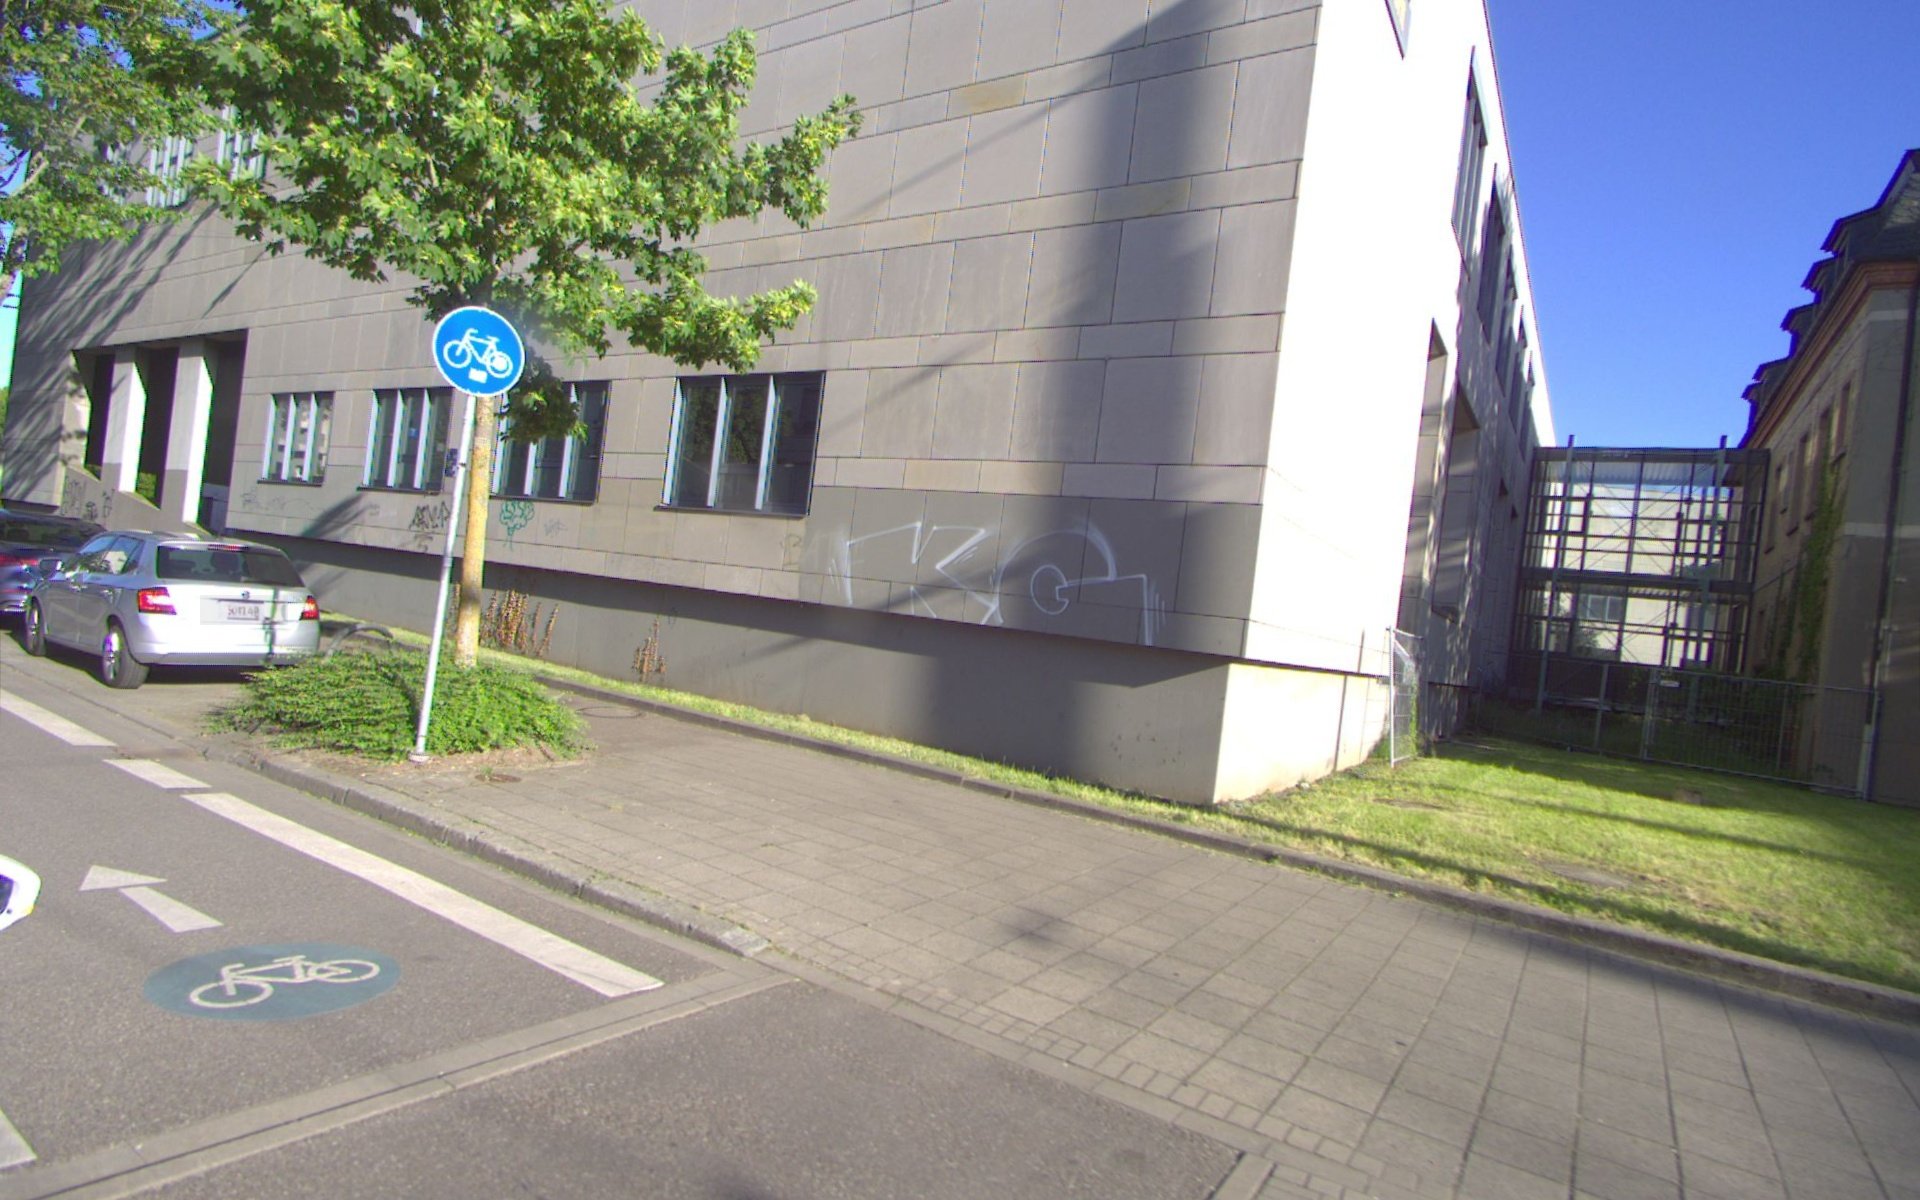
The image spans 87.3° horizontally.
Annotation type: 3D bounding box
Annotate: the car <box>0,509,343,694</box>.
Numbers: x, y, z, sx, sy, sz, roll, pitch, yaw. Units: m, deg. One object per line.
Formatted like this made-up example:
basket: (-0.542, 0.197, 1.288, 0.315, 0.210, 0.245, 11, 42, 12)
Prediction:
car: (-8.441, -0.014, 10.684, 3.851, 1.473, 1.643, 7, 0, 34)

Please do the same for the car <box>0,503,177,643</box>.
car: (-12.555, -0.494, 13.356, 4.565, 1.508, 1.842, 7, 0, 32)
